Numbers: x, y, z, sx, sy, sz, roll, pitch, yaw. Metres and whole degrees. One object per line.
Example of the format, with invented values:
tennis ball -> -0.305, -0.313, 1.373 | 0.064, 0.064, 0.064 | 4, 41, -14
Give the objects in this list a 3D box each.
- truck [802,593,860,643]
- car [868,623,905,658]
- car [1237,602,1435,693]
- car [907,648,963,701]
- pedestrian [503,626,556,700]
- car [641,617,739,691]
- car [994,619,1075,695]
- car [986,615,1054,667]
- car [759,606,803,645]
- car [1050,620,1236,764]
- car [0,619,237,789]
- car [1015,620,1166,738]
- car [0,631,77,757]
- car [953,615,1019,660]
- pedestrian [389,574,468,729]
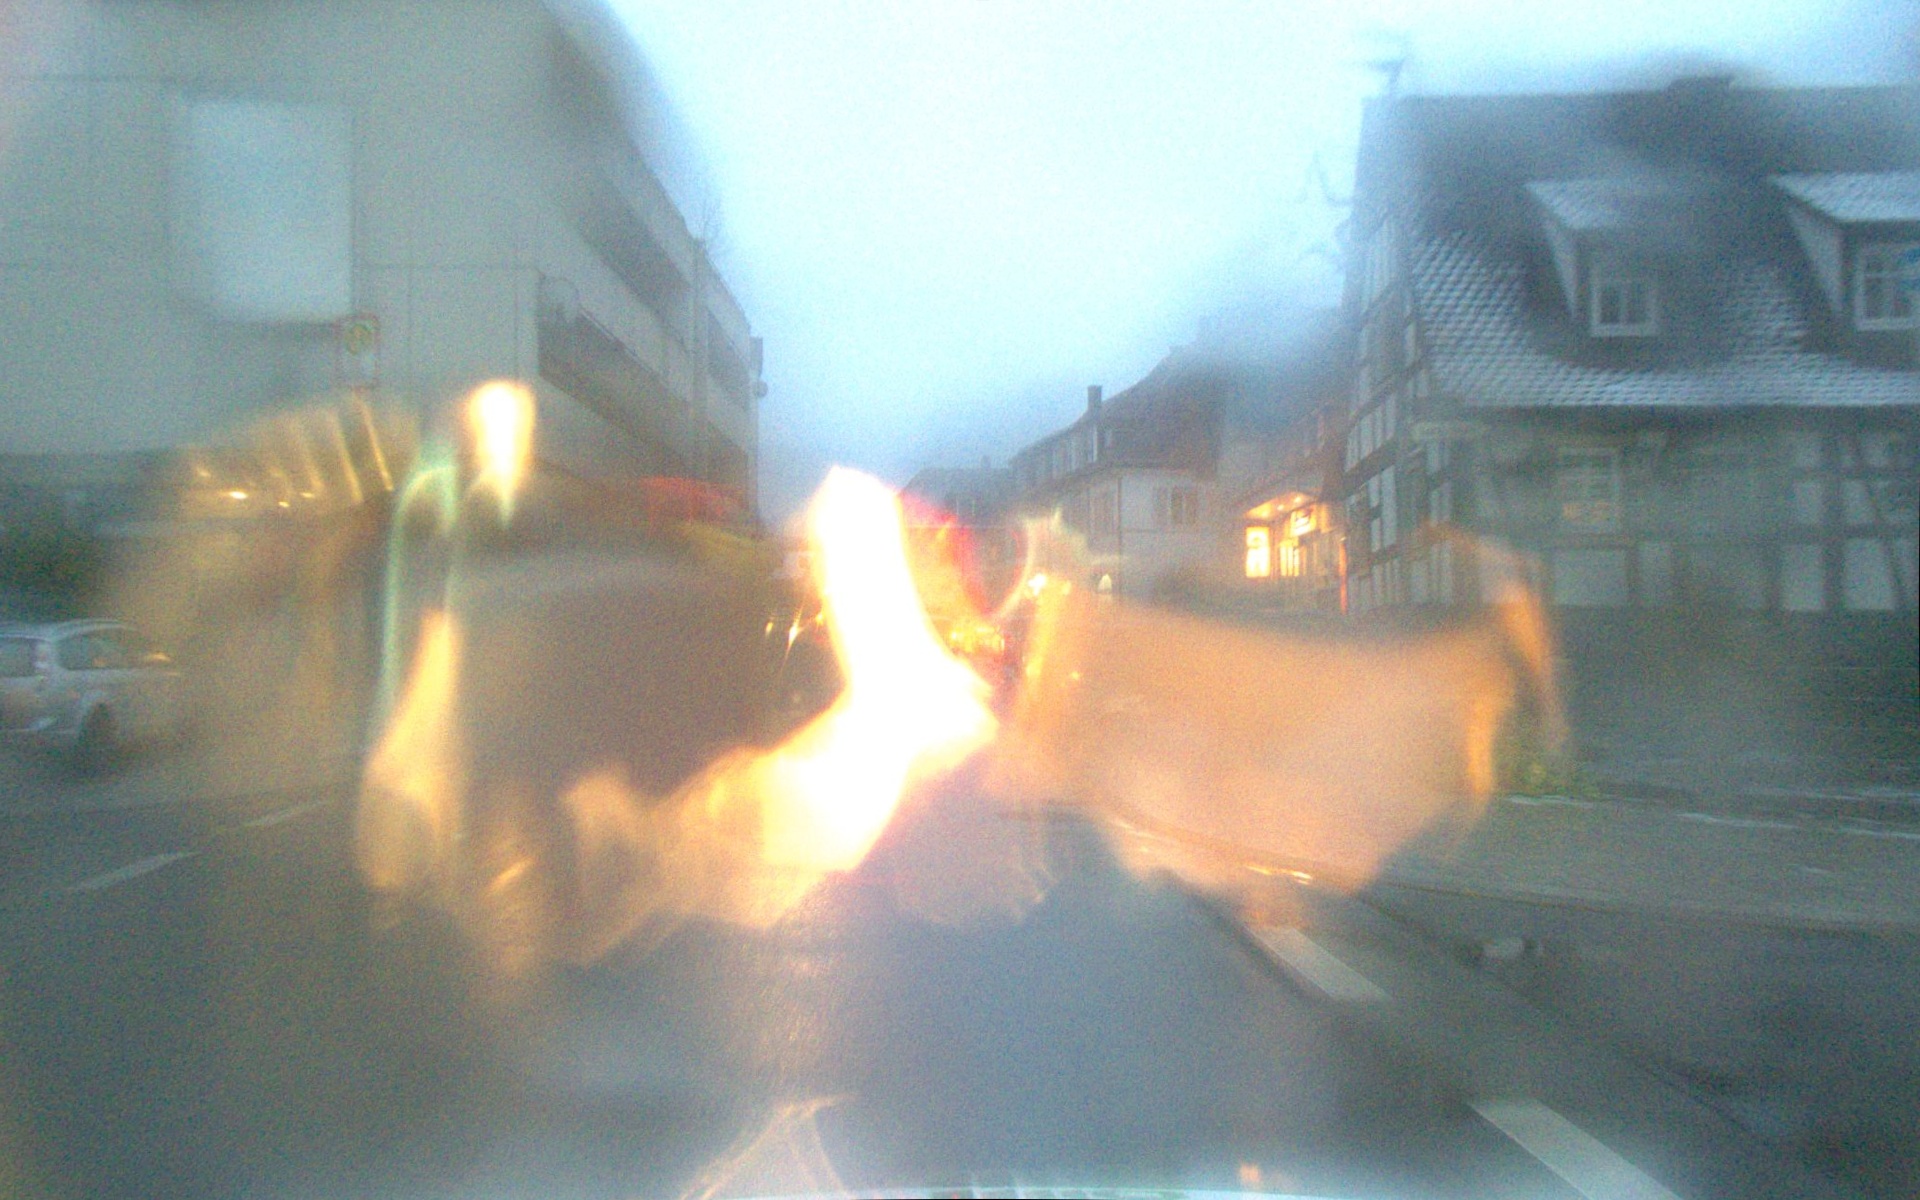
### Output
truck -> -8.656, 1.192, 110.444 | 2.961, 3.183, 7.978 | 1, -1, -11
car -> -3.362, 1.831, 75.492 | 1.605, 1.507, 3.269 | 1, -1, -3
car -> 6.963, 0.877, 30.842 | 3.224, 1.466, 1.686 | -3, -1, -2
car -> -0.791, 2.227, 50.038 | 1.605, 1.507, 3.377 | 1, -1, -2
pedestrian -> -7.980, 1.165, 30.685 | 0.740, 1.333, 0.828 | 1, -1, -2
car -> -6.204, 1.214, 38.323 | 1.582, 1.559, 3.927 | 2, -1, 0
car -> 1.550, 1.190, 35.536 | 1.593, 1.467, 3.800 | -2, -1, 1
car -> 1.825, 1.263, 51.657 | 1.758, 1.486, 4.529 | -2, -1, -2
car -> -7.992, 1.123, 73.788 | 1.761, 1.671, 3.804 | 1, -1, -9
car -> 2.083, 1.022, 19.846 | 1.697, 1.484, 3.999 | -2, -1, -1
car -> -9.709, 1.042, 18.244 | 1.729, 1.526, 4.447 | -1, 1, -4
car -> 1.877, 1.119, 25.012 | 1.729, 1.553, 4.387 | -2, -1, -2
car -> -12.132, 1.158, 18.826 | 1.662, 1.425, 4.451 | -1, 1, 1
car -> 0.908, 1.349, 60.787 | 1.846, 1.574, 4.665 | -1, 0, -6
pedestrian -> -7.012, 0.660, 21.879 | 0.958, 1.972, 1.197 | 0, -1, -17
